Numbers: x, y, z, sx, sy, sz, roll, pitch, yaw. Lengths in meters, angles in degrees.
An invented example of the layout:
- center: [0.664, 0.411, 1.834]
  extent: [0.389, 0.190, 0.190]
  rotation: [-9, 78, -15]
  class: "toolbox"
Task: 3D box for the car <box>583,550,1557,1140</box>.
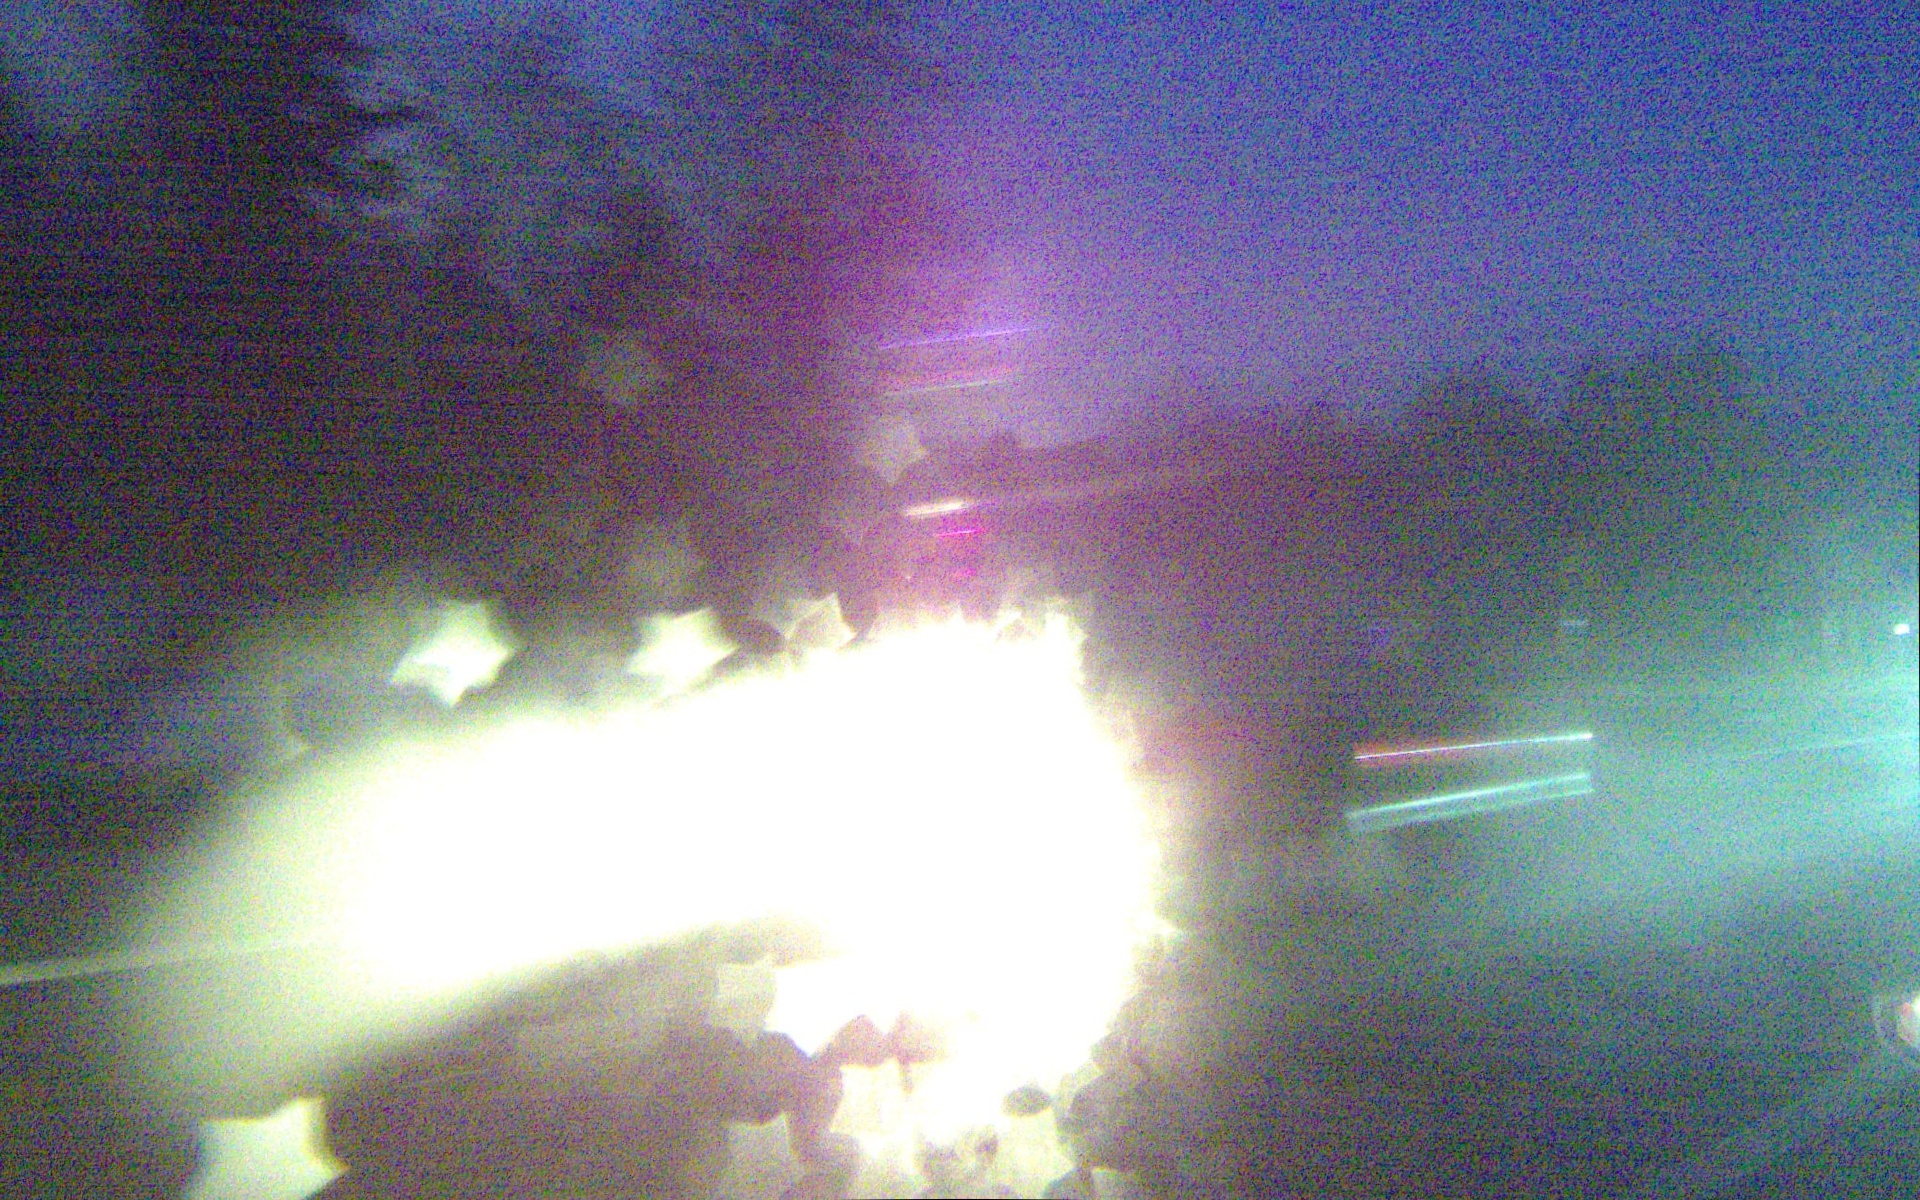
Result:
- center: [0.483, 0.662, 4.356]
  extent: [3.728, 1.518, 1.985]
  rotation: [2, 0, -29]
  class: "car"
